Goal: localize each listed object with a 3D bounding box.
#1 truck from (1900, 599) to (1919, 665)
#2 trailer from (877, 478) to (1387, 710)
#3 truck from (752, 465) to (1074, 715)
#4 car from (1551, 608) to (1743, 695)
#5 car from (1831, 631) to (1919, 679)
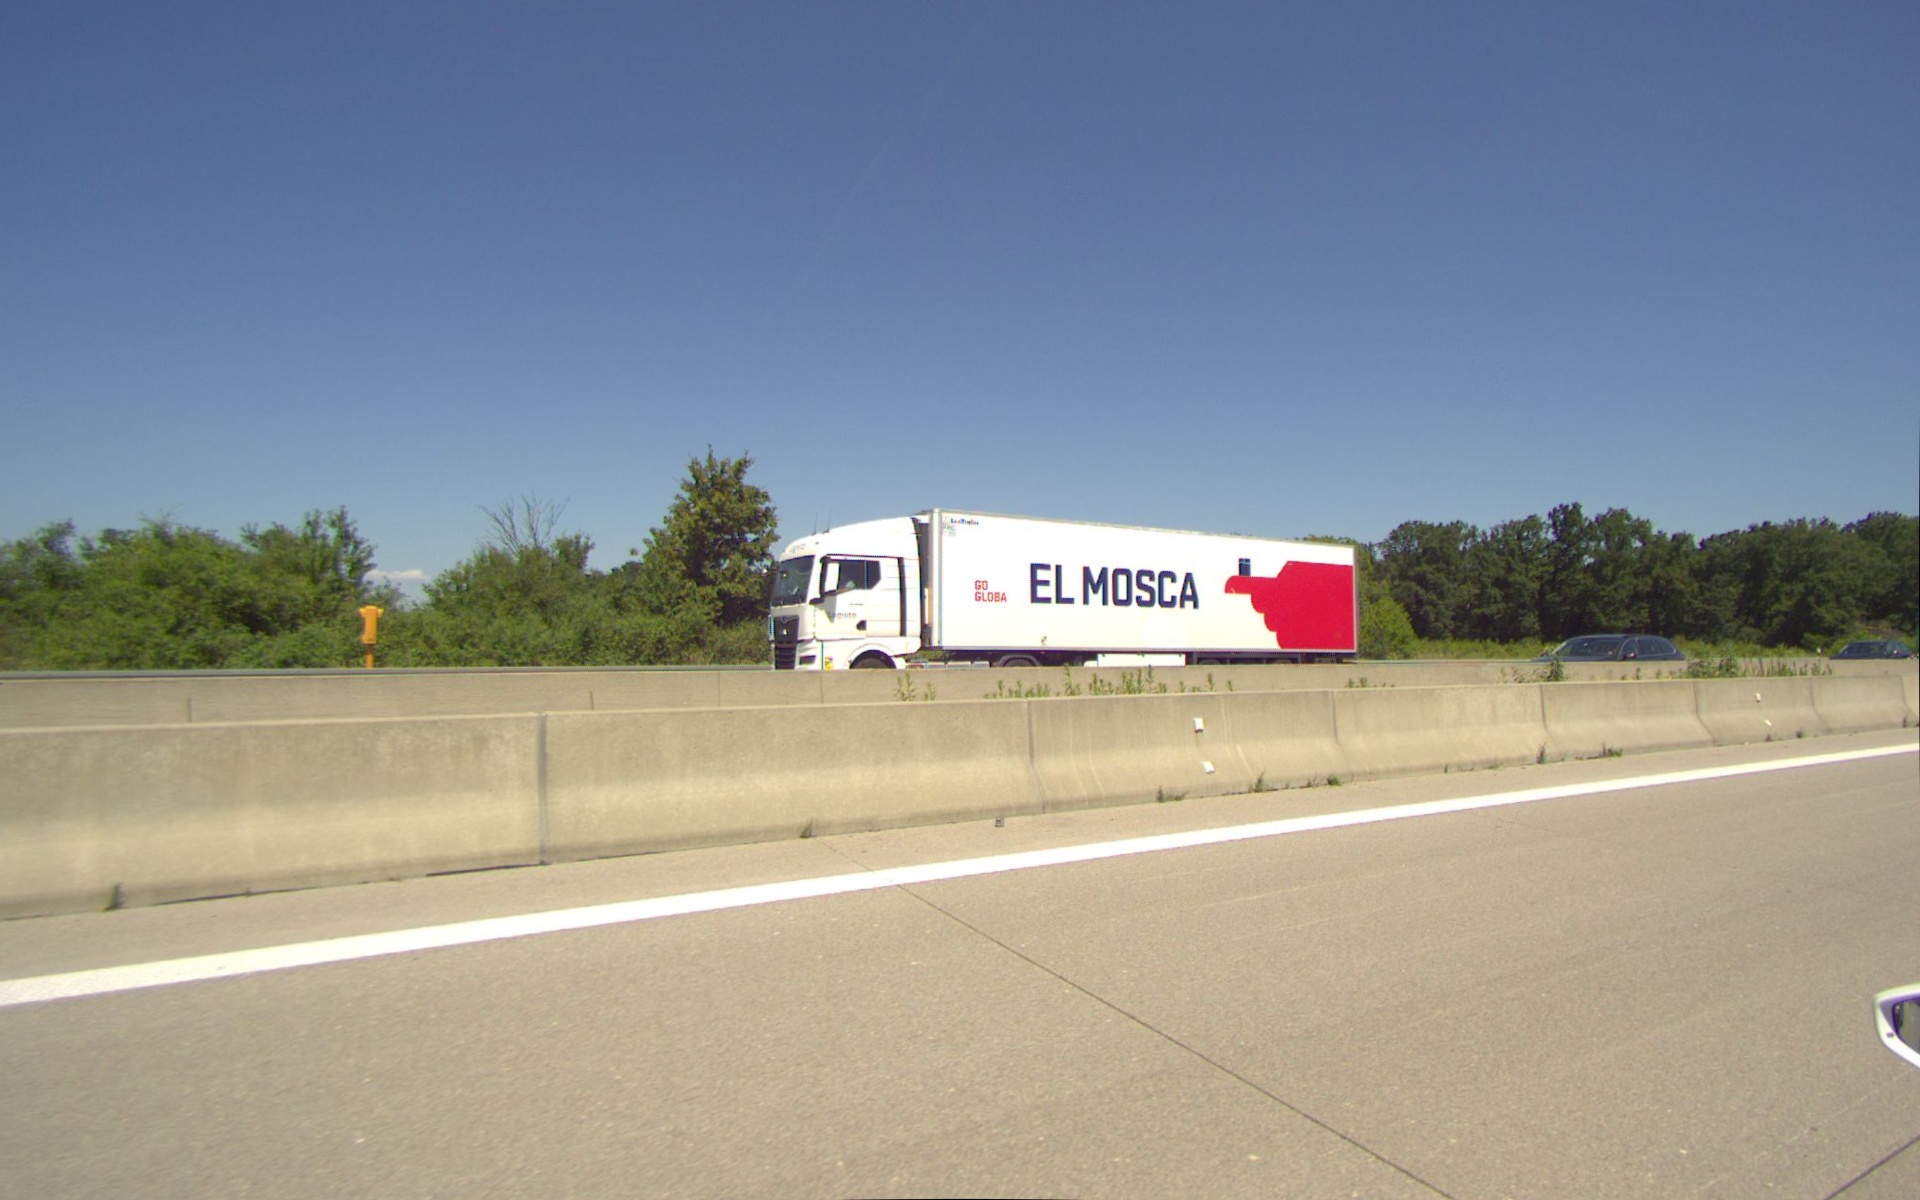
[{"bbox_3d":[57.599,1.900,57.816,7.886,3.683,3.034,1,0,-31],"label":"truck"},{"bbox_3d":[4.972,-0.011,25.783,14.203,4.825,3.067,1,0,-30],"label":"trailer"},{"bbox_3d":[-1.007,-0.142,22.313,6.421,4.825,3.068,1,0,-30],"label":"truck"},{"bbox_3d":[16.057,1.156,23.439,4.413,1.819,1.984,1,0,-30],"label":"car"},{"bbox_3d":[37.620,2.205,41.021,3.954,1.818,1.919,1,0,-31],"label":"car"}]
